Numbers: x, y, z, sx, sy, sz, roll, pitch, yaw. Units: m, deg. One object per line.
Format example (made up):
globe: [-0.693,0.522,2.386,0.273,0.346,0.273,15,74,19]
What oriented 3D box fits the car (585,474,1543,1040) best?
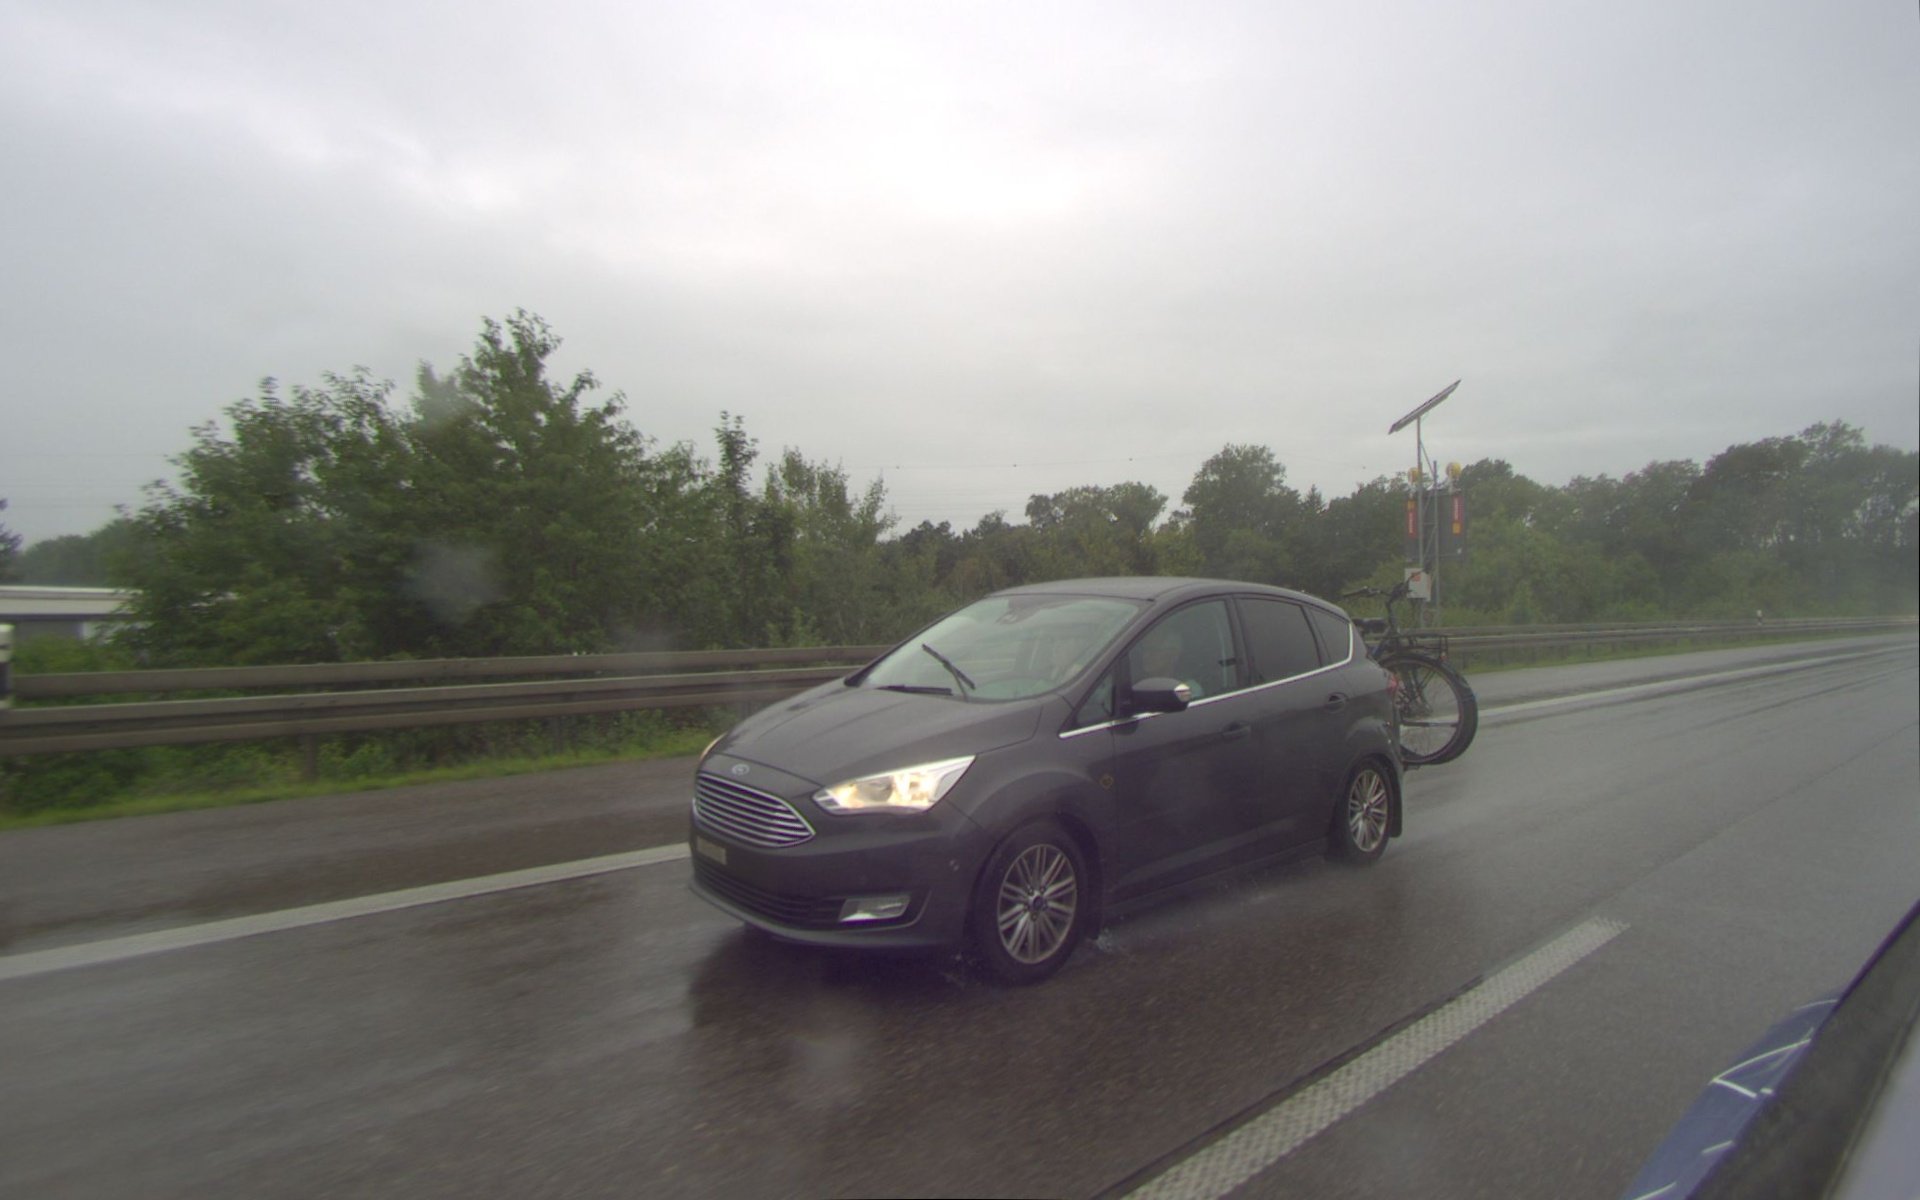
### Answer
car: [1.041,0.476,5.955,5.619,1.768,2.462,0,0,-41]
